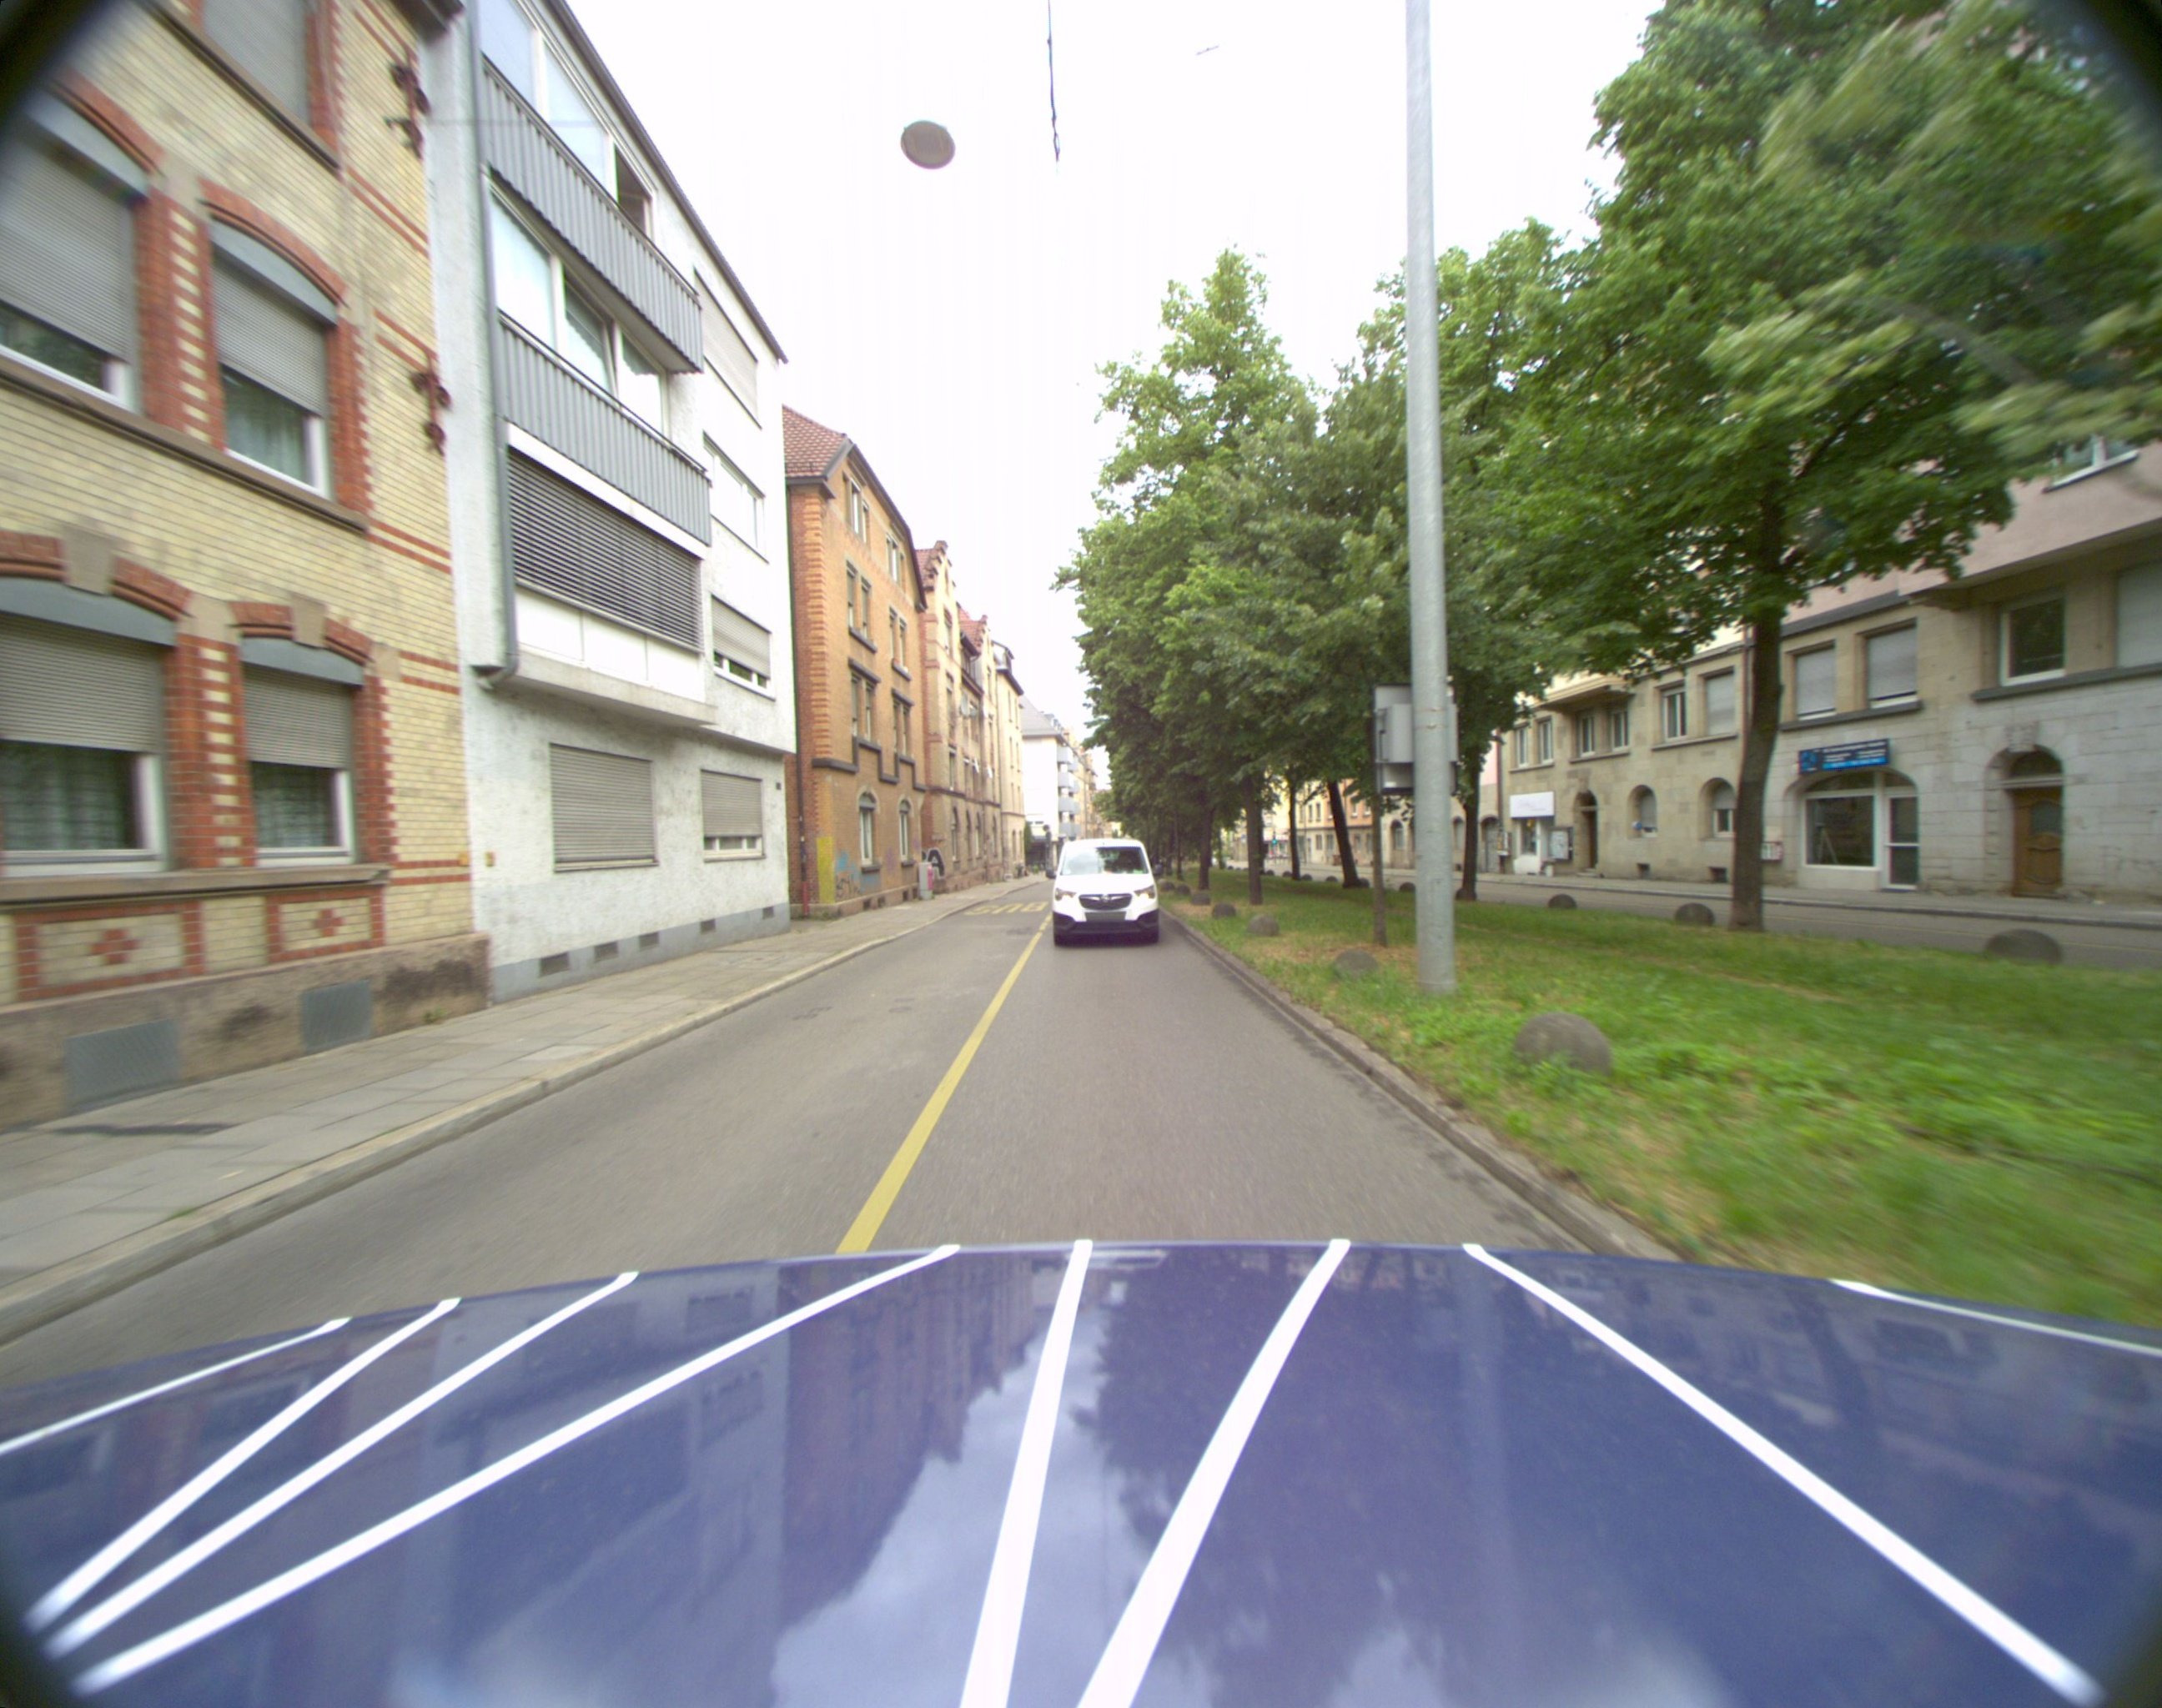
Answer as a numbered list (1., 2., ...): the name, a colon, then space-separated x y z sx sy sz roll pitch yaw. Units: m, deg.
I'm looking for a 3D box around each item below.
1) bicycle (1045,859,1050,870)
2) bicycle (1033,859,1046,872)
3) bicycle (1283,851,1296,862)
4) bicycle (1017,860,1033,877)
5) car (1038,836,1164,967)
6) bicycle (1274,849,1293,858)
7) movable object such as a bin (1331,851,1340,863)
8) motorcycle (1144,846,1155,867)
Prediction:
1. bicycle: -3.804 1.226 85.839 0.400 1.197 1.285 -4 0 -3
2. bicycle: -3.573 1.004 65.643 0.683 1.142 2.942 -2 -1 4
3. bicycle: 24.436 0.275 89.221 0.684 1.142 2.057 -4 -2 -8
4. bicycle: -4.021 1.007 54.700 0.683 1.143 2.484 -2 1 4
5. car: 0.473 0.663 13.067 1.745 1.830 4.344 -2 1 5
6. bicycle: 26.967 -0.055 101.091 2.345 1.094 0.775 -3 0 23
7. movable object such as a bin: 20.464 0.269 61.084 0.513 0.921 0.779 -3 0 4
8. motorcycle: 5.653 0.219 62.723 0.825 1.520 2.626 1 -3 5
